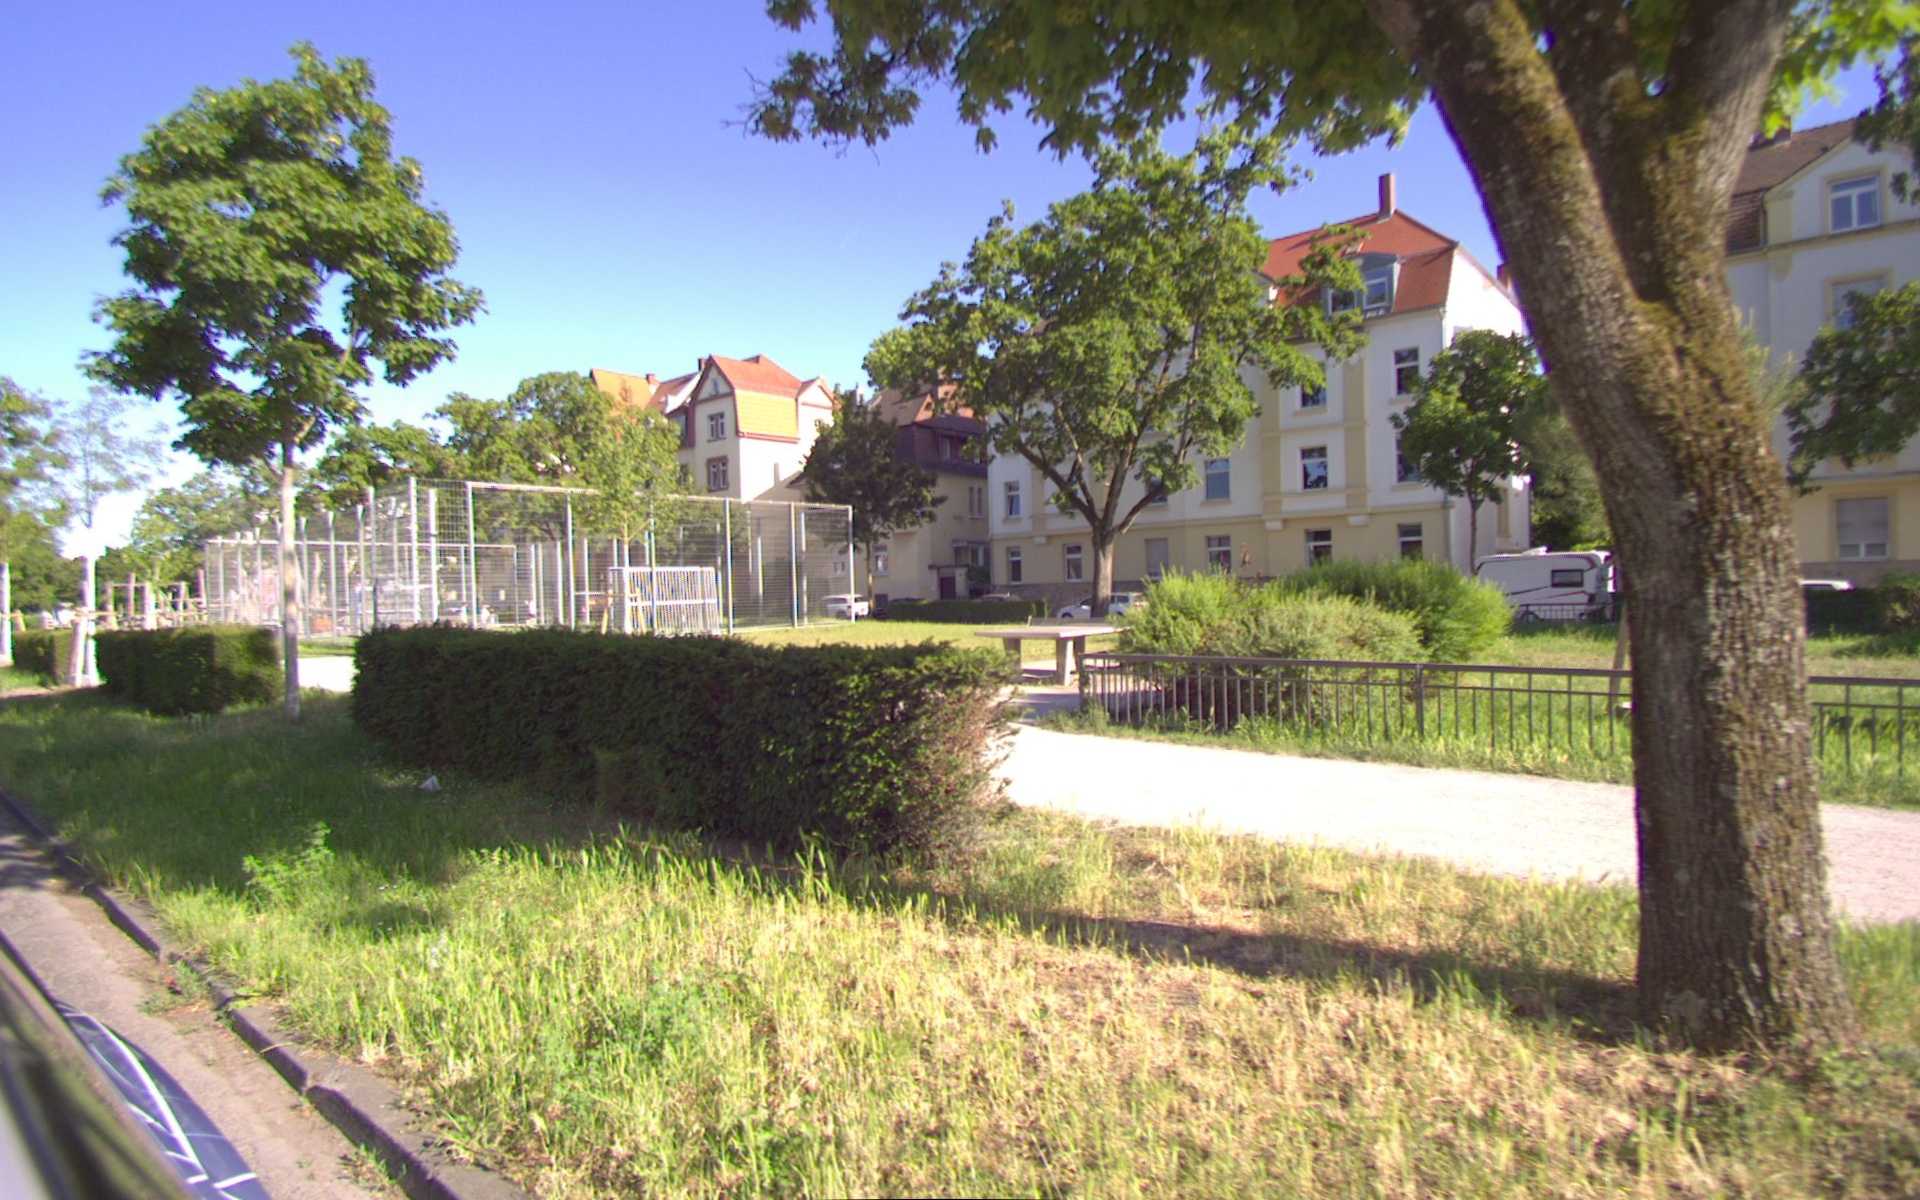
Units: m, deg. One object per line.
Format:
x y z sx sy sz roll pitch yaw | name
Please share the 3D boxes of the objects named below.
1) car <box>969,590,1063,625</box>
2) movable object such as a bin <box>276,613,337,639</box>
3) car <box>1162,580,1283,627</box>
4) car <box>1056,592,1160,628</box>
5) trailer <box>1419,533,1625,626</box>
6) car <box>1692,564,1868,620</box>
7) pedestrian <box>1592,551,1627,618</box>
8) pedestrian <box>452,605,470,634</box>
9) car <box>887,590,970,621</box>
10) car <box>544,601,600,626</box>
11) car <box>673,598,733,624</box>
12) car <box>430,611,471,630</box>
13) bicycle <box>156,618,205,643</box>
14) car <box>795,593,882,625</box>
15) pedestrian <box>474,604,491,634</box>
2.665 0.377 48.827 4.345 1.521 1.776 -2 1 41 | car
-32.610 1.288 50.533 1.054 1.251 2.309 -2 -1 37 | movable object such as a bin
10.778 0.150 41.792 4.486 1.790 1.776 -2 1 41 | car
6.602 0.458 45.412 4.345 1.521 1.776 -2 1 41 | car
19.218 -0.632 34.770 5.798 2.892 2.319 -2 1 40 | trailer
24.523 -0.224 30.365 3.998 1.521 1.775 -1 1 42 | car
16.469 -0.383 25.658 0.650 1.674 0.641 -1 -1 41 | pedestrian
-23.007 0.898 46.662 0.639 1.328 0.652 -2 0 -20 | pedestrian
-1.654 0.299 52.660 4.229 1.521 1.776 -2 1 41 | car
-26.023 0.899 67.842 3.998 1.521 1.776 -2 1 41 | car
-16.501 0.711 64.977 3.998 1.521 1.776 -2 1 41 | car
-45.424 1.797 90.190 3.998 1.566 1.776 -2 1 41 | car
-36.906 1.447 47.929 0.499 1.116 1.777 -2 0 39 | bicycle
-6.877 0.516 56.837 5.180 1.664 1.862 -2 1 41 | car
-22.154 0.874 46.979 0.639 1.328 0.652 -2 0 -20 | pedestrian
